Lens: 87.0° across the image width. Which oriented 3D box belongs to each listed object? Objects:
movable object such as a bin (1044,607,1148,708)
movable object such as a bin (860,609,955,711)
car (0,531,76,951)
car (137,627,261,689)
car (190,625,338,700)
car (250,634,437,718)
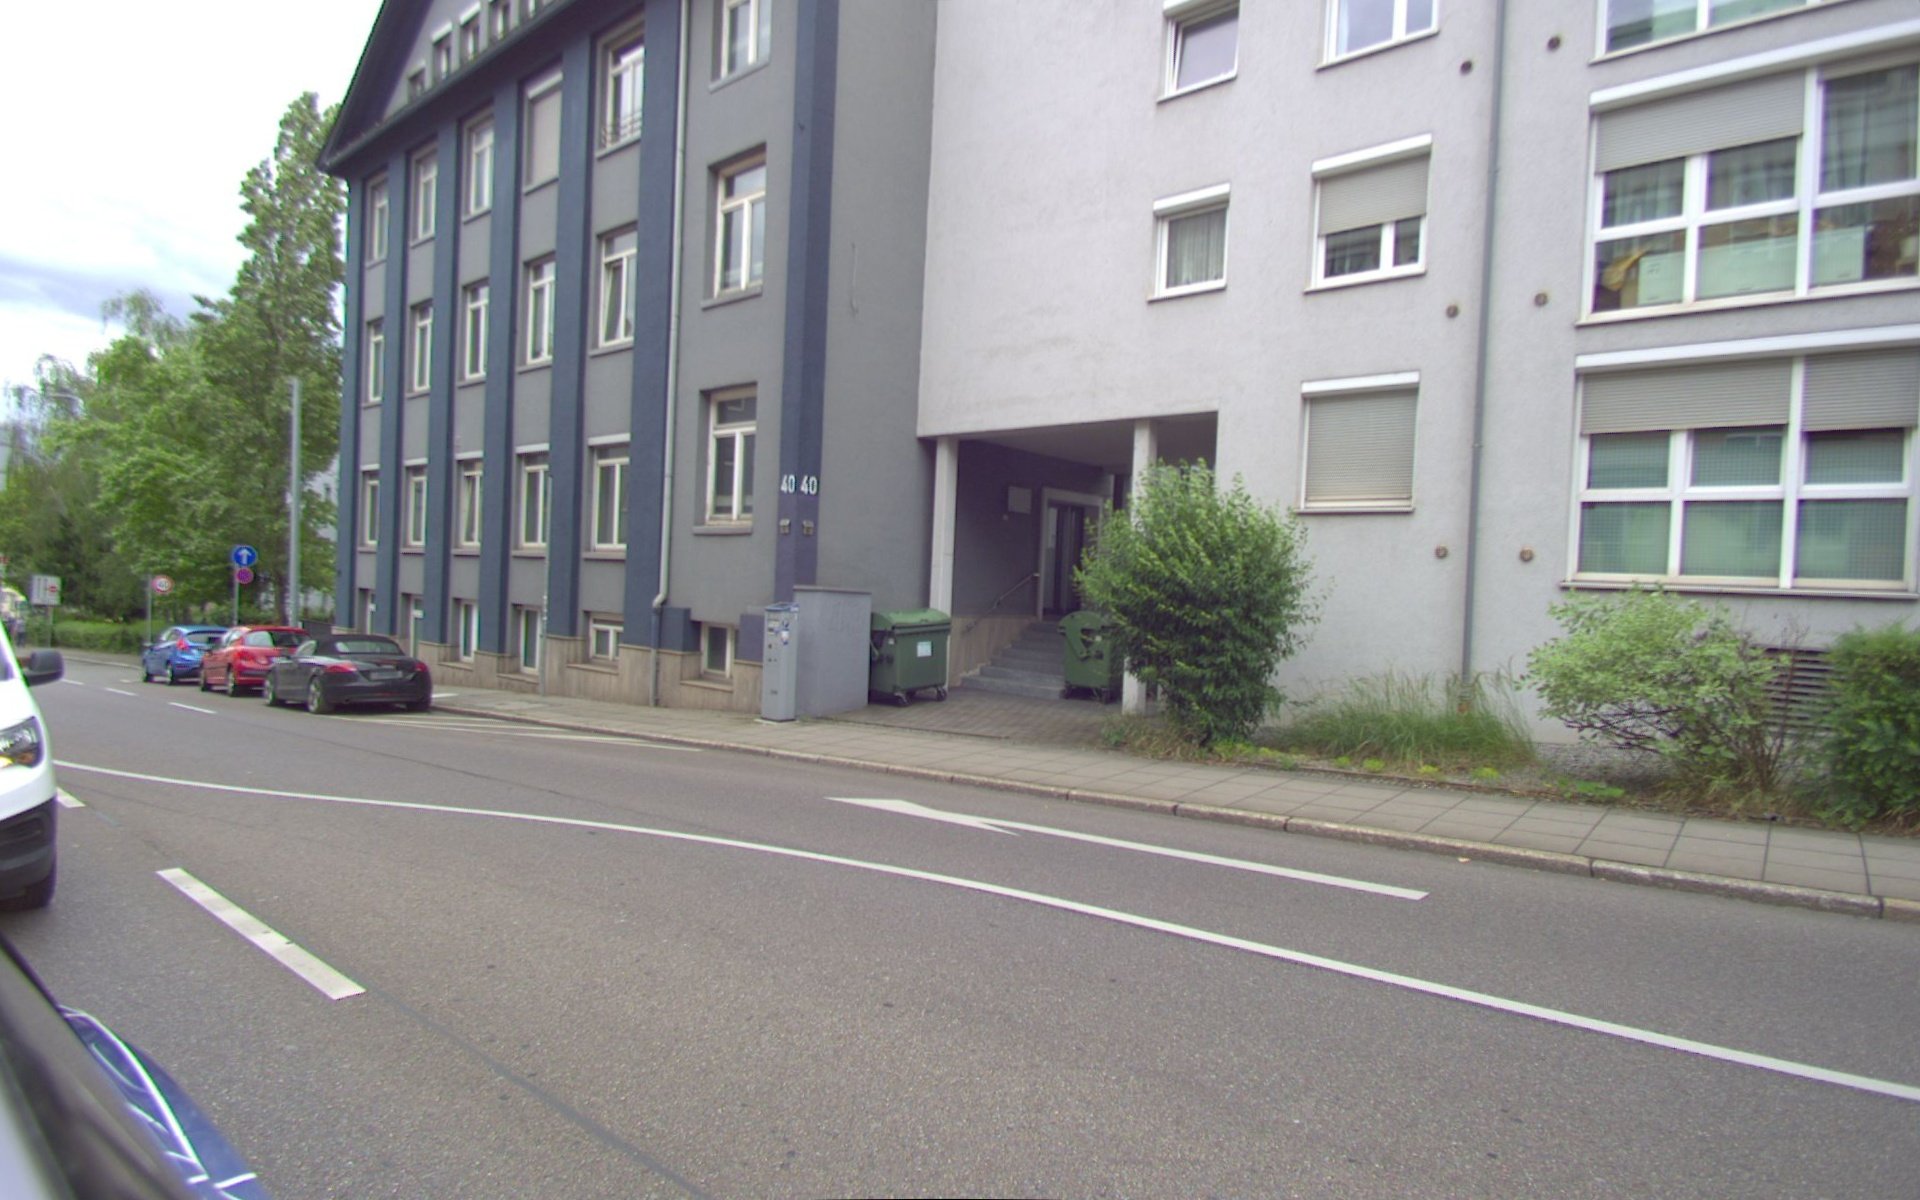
[{"bbox_3d":[2.233,0.915,16.619,1.190,1.489,1.132,5,2,41],"label":"movable object such as a bin"},{"bbox_3d":[-0.806,0.895,15.697,0.784,1.467,1.251,0,1,44],"label":"movable object such as a bin"},{"bbox_3d":[-6.452,0.660,5.535,4.937,1.821,1.816,-1,0,42],"label":"car"},{"bbox_3d":[-19.350,1.435,25.688,3.724,1.465,1.702,-1,-3,40],"label":"car"},{"bbox_3d":[-15.247,1.329,22.105,3.868,1.485,1.795,-2,-4,43],"label":"car"},{"bbox_3d":[-11.114,1.306,18.140,4.040,1.337,1.701,-1,-4,42],"label":"car"}]
